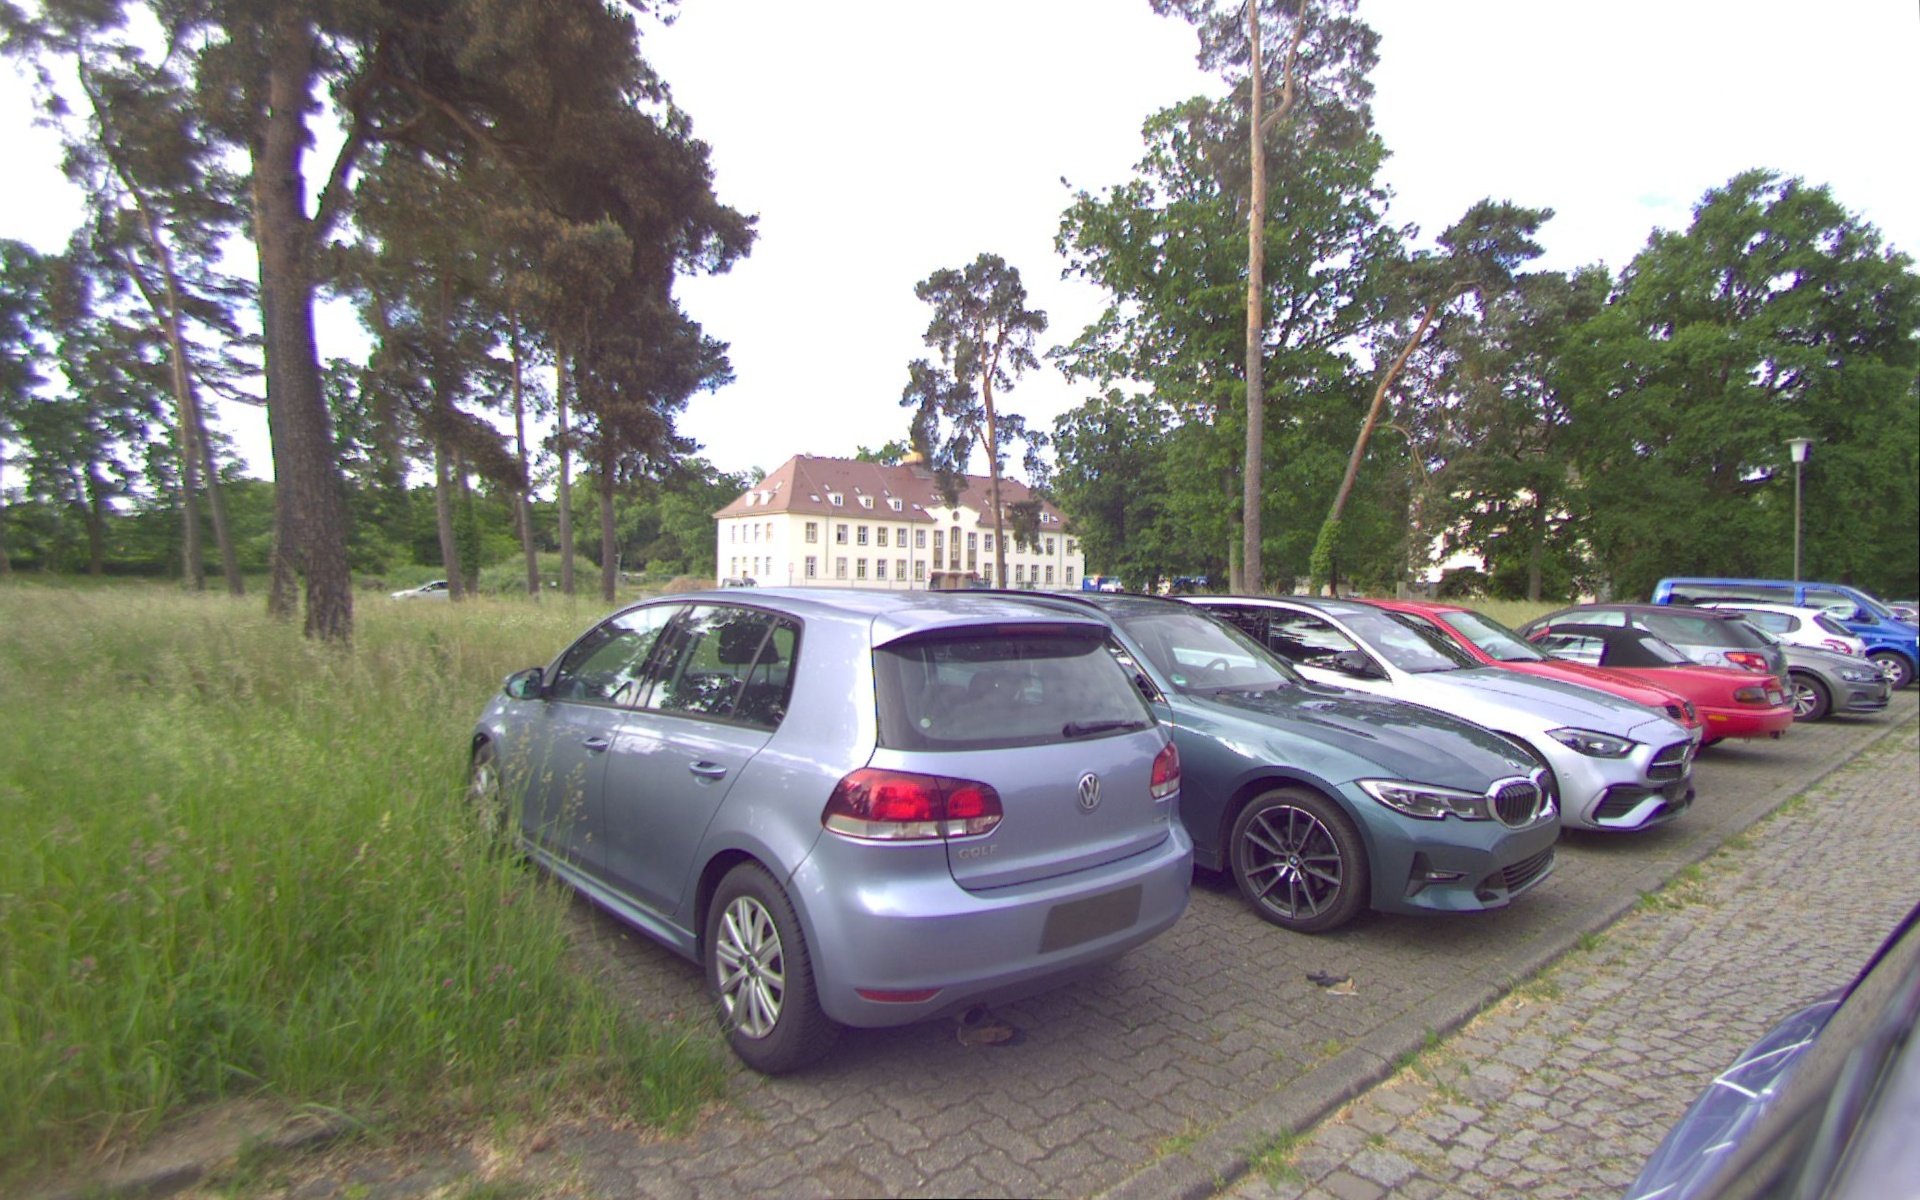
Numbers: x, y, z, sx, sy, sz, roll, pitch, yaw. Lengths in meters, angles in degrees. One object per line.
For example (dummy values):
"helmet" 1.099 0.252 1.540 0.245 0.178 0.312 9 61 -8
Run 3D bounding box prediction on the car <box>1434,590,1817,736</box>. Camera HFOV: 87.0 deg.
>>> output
"car" 8.354 0.667 12.934 1.769 1.524 3.781 0 1 -43

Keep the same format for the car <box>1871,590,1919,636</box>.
"car" 38.313 0.521 39.369 1.964 1.784 4.006 0 1 -39

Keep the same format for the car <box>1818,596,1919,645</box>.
"car" 30.628 0.655 32.859 1.965 1.549 3.994 0 -1 -40

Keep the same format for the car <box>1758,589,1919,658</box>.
"car" 23.185 0.567 25.946 1.965 1.630 3.995 0 1 -40

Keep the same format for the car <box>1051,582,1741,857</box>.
"car" 3.053 0.636 8.065 1.780 1.501 4.766 0 1 -40

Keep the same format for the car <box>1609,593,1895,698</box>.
"car" 12.747 0.645 16.433 1.608 1.470 3.407 0 1 -40

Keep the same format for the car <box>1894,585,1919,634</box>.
"car" 41.705 0.426 42.052 1.964 2.039 3.996 0 1 -39

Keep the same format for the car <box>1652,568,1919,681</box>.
"car" 16.745 0.401 19.964 1.965 1.963 4.746 0 2 -41

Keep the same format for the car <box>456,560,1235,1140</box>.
"car" -0.859 0.588 4.525 1.578 1.444 3.770 1 2 -41

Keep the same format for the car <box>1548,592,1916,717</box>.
"car" 10.821 0.651 14.416 1.787 1.474 3.849 0 1 -38

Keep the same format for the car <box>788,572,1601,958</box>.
"car" 1.005 0.599 6.288 1.732 1.501 4.761 0 1 -44

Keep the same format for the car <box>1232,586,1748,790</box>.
"car" 4.785 0.633 9.589 1.768 1.470 3.969 0 1 -41

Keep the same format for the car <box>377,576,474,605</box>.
"car" -27.732 -0.502 52.536 4.180 1.433 1.886 -1 2 -39

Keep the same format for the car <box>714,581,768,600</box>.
"car" -23.012 -1.008 106.199 6.169 1.882 2.305 2 1 40

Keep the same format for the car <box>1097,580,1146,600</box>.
"car" 16.845 -1.064 105.431 5.129 2.039 2.154 0 1 -39

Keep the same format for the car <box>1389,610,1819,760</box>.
"car" 6.681 0.769 10.802 1.468 1.222 3.599 1 1 -40
